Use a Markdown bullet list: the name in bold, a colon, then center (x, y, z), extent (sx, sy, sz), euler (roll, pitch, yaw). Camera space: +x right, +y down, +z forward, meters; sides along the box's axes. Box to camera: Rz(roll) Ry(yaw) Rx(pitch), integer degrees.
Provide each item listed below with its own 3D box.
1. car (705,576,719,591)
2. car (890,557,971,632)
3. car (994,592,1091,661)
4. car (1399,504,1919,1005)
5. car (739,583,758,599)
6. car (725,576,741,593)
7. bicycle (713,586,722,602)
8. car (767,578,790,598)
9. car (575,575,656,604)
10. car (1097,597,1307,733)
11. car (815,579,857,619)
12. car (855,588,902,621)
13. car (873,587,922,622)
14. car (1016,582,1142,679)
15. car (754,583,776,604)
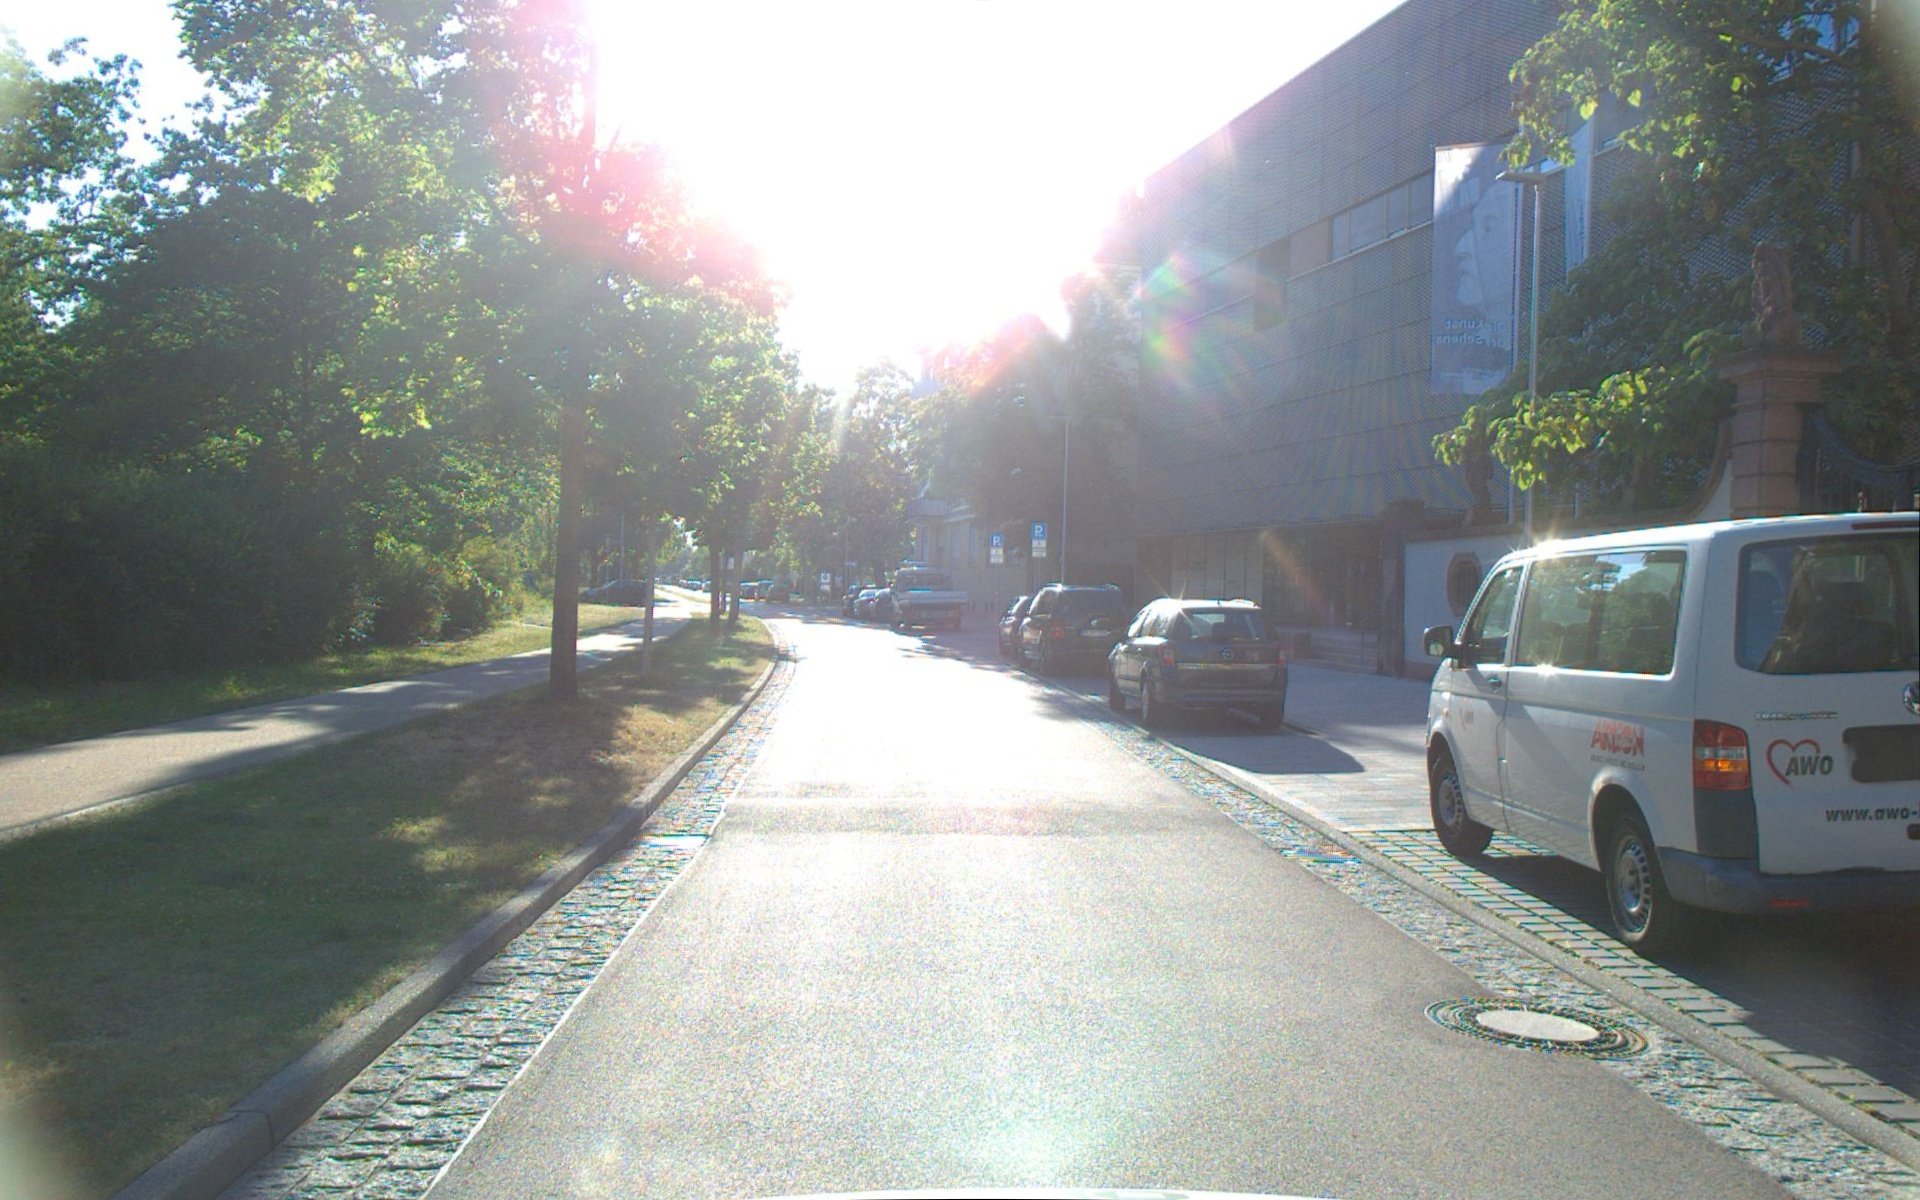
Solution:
- **car**: center (-36.058, -2.404, 240.146), extent (1.957, 2.004, 3.992), euler (2, 0, -9)
- **car**: center (-1.157, -0.242, 60.377), extent (2.170, 2.574, 6.136), euler (-1, 1, -8)
- **car**: center (1.816, 0.568, 37.508), extent (1.690, 1.446, 3.902), euler (0, 1, -5)
- **car**: center (4.074, 0.578, 9.137), extent (1.953, 2.000, 4.849), euler (-2, 1, 0)
- **car**: center (-20.867, -0.908, 163.193), extent (1.760, 1.536, 3.992), euler (2, 0, -8)
- **car**: center (-27.370, -1.867, 199.404), extent (1.760, 2.034, 3.992), euler (2, 0, -8)
- **bicycle**: center (-20.362, -0.522, 138.856), extent (0.675, 1.223, 2.341), euler (2, 1, -6)
- **car**: center (-14.709, -0.992, 134.379), extent (1.759, 1.536, 3.995), euler (2, 0, -6)
- **car**: center (-18.659, -0.586, 89.671), extent (3.956, 1.445, 1.749), euler (1, 1, -37)
- **car**: center (2.967, 0.740, 21.190), extent (1.713, 1.492, 4.473), euler (-1, 1, -4)
- **car**: center (-6.730, -0.088, 89.351), extent (1.790, 2.049, 3.595), euler (2, 0, -11)
- **car**: center (-3.810, 0.208, 76.836), extent (1.660, 1.465, 4.094), euler (0, 1, -10)
- **car**: center (-2.719, 0.179, 71.335), extent (1.660, 1.465, 3.542), euler (0, 1, -10)
- **car**: center (2.193, 0.515, 31.491), extent (1.691, 1.698, 4.108), euler (0, 1, -6)
- **car**: center (-17.455, -0.613, 147.892), extent (1.760, 1.754, 3.992), euler (2, 0, -8)
